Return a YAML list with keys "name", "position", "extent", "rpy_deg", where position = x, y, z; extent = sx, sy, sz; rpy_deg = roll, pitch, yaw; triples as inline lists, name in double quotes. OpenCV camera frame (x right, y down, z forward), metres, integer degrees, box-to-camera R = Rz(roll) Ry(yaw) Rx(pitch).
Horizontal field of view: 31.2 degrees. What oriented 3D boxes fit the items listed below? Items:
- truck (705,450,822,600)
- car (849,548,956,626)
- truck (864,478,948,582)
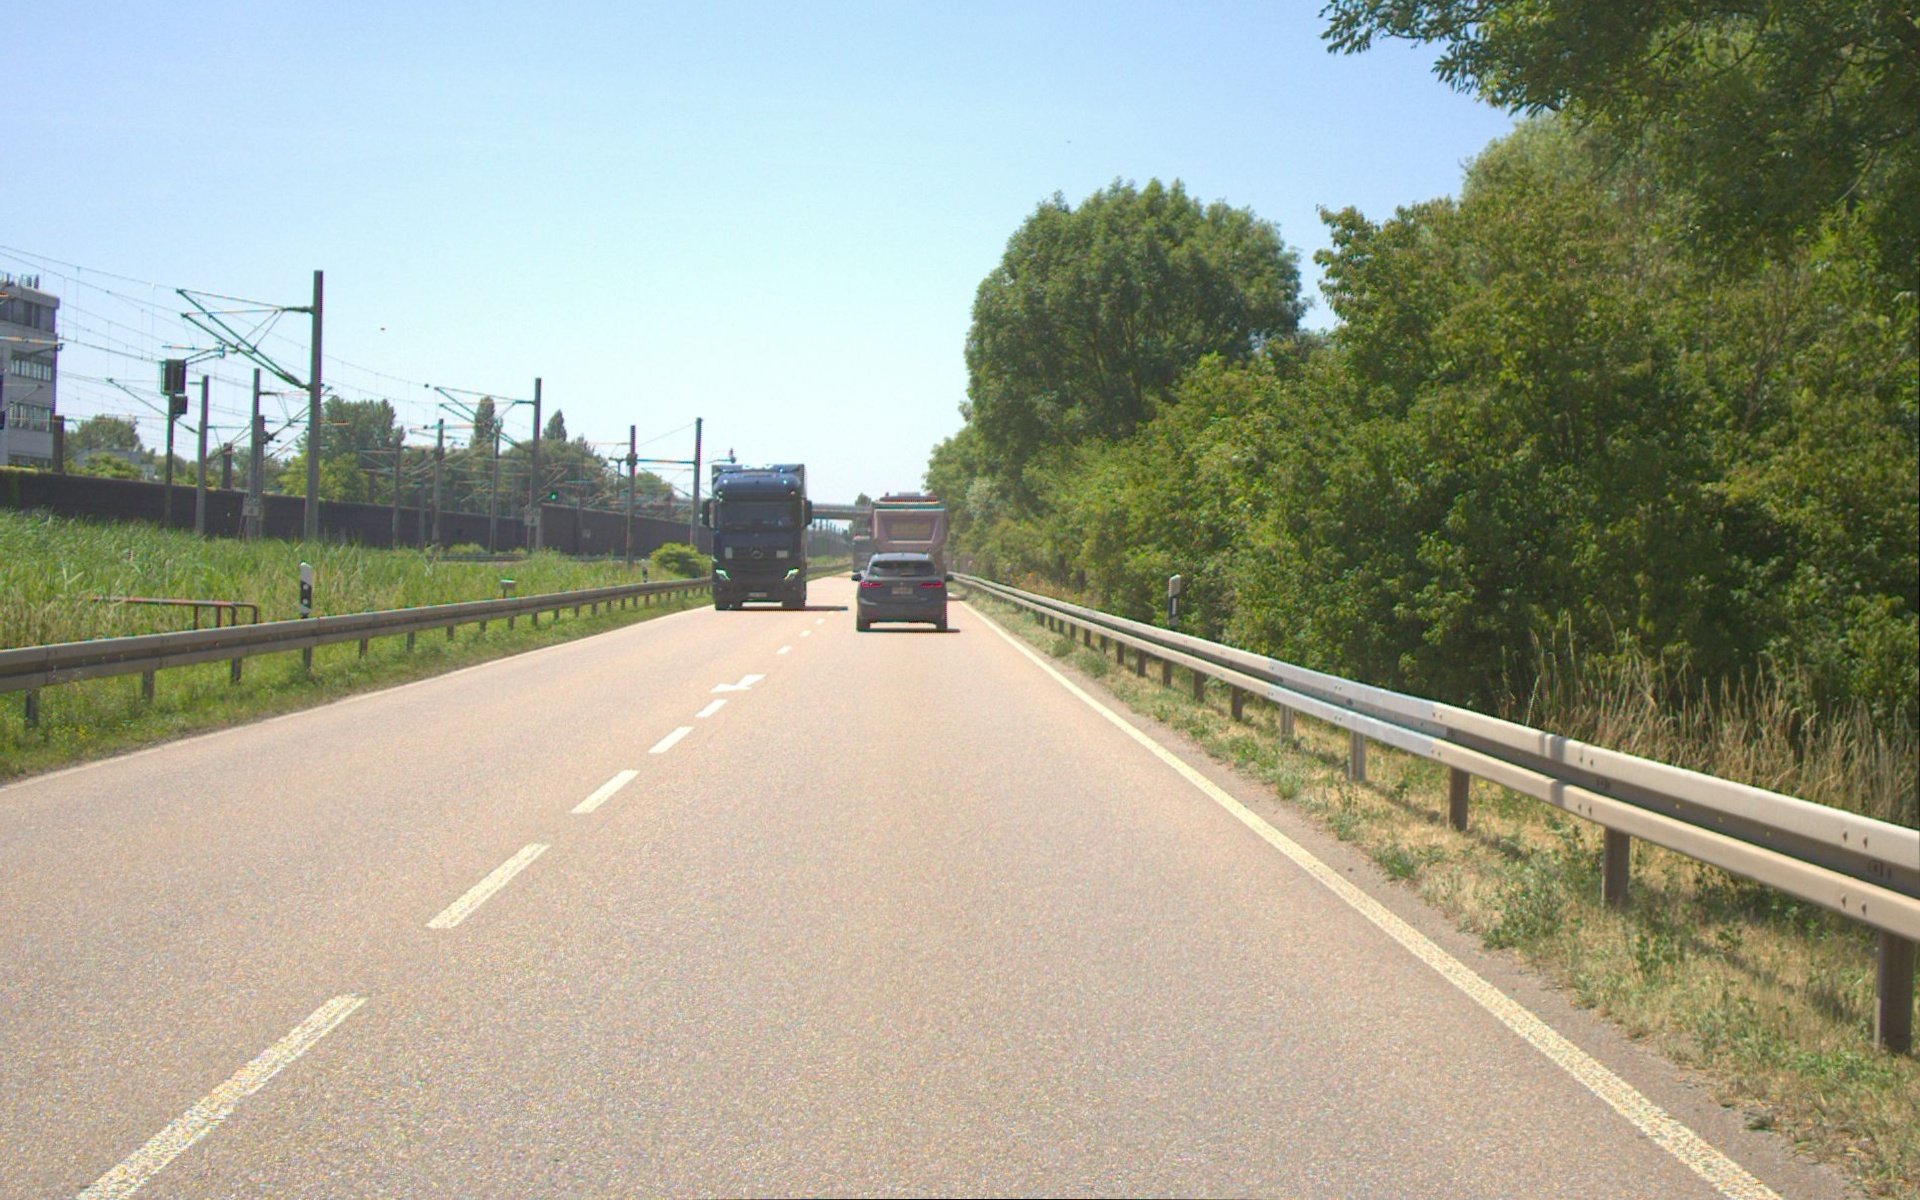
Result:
- name: "truck"
  position: [-5.499, -2.126, 97.621]
  extent: [2.797, 3.964, 10.501]
  rpy_deg: [-1, 1, -1]
- name: "car"
  position: [-1.184, -0.281, 69.239]
  extent: [1.993, 1.503, 4.001]
  rpy_deg: [1, 1, -3]
- name: "truck"
  position: [-1.889, -2.410, 120.507]
  extent: [2.770, 3.414, 10.820]
  rpy_deg: [1, 1, -1]
